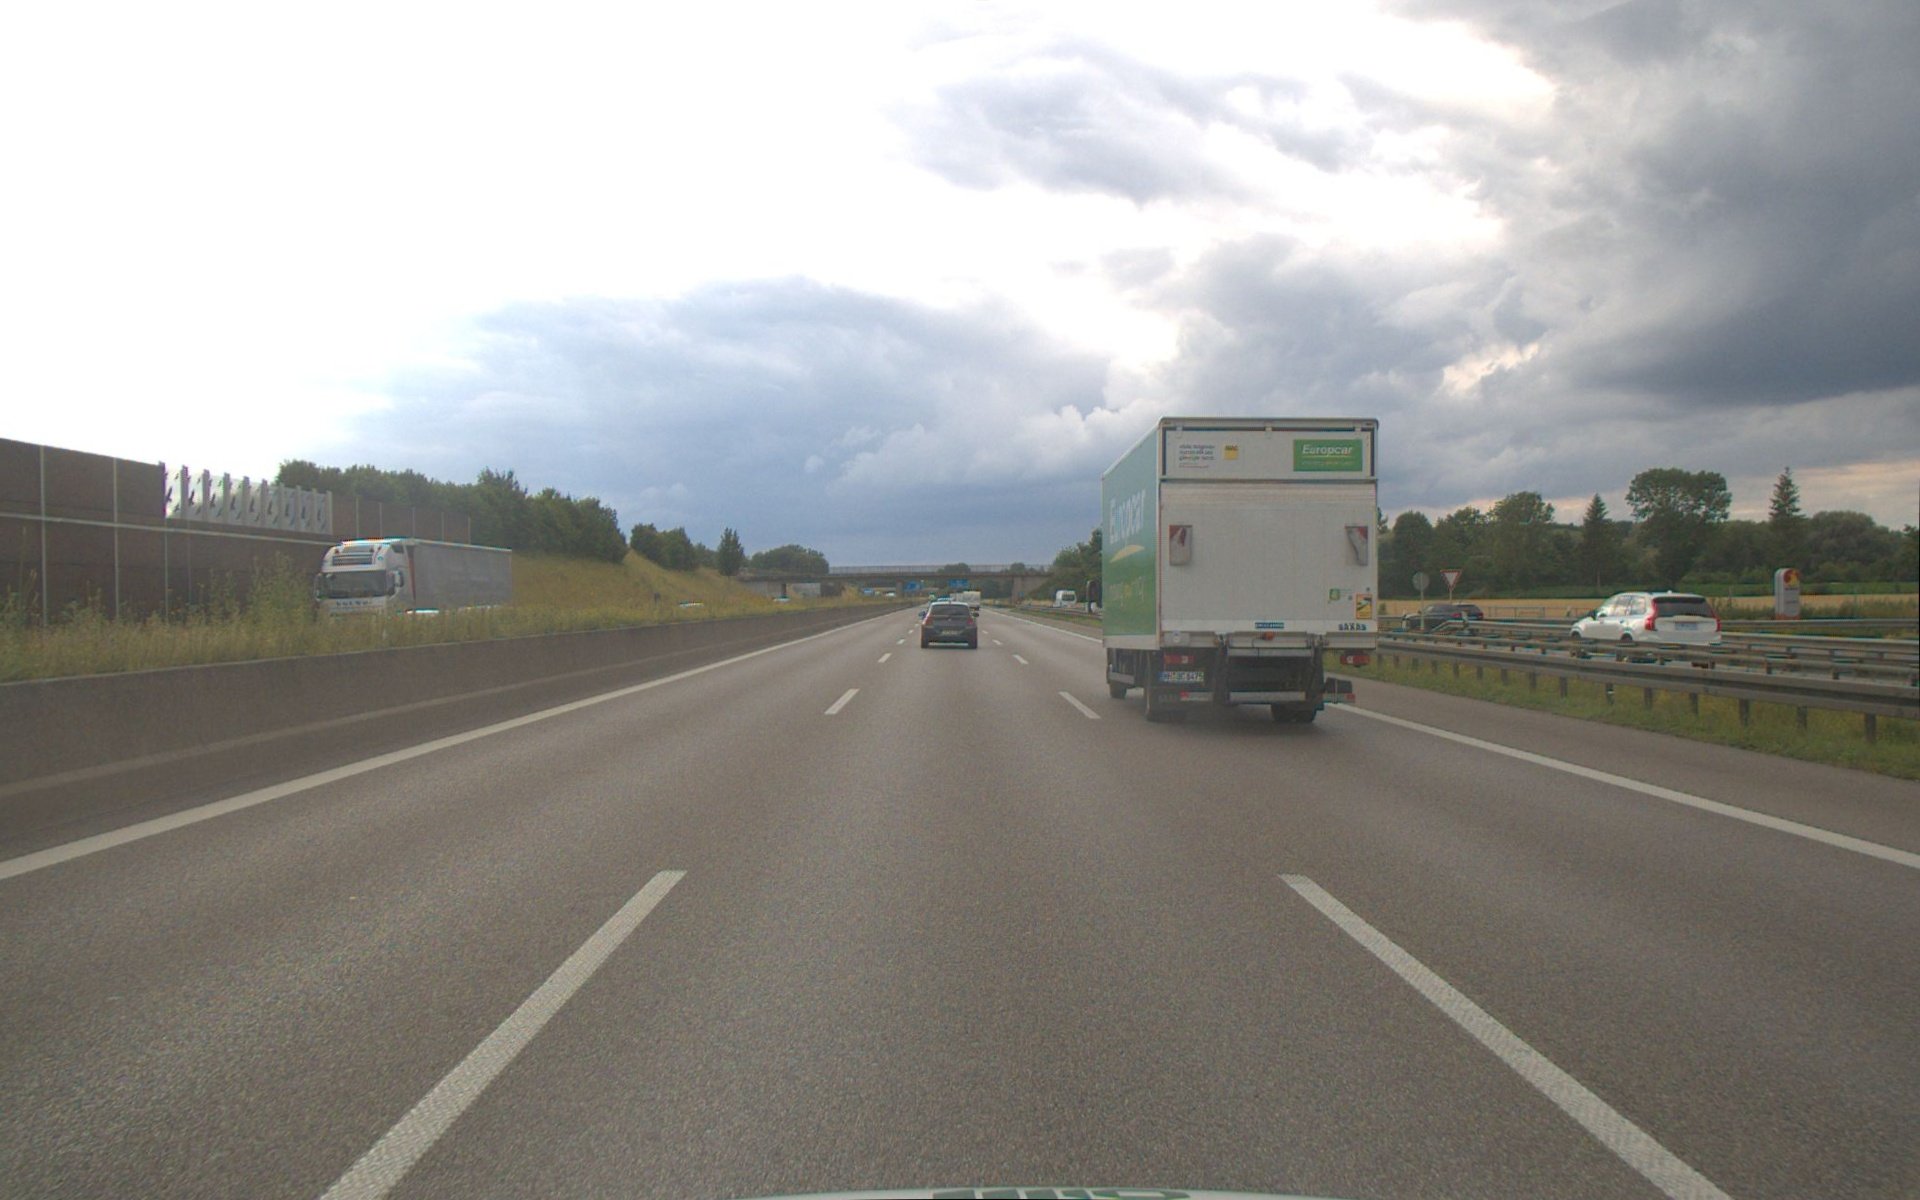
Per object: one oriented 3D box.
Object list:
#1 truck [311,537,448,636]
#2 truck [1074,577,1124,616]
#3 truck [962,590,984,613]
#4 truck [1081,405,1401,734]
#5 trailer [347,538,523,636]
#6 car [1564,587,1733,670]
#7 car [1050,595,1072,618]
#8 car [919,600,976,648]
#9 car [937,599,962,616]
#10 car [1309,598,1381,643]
[{"bbox_3d":[-20.271,-0.444,58.140,2.767,3.283,5.979,0,0,-1],"label":"truck"},{"bbox_3d":[13.025,-0.306,155.693,3.044,3.531,8.879,1,0,-6],"label":"truck"},{"bbox_3d":[1.729,0.216,225.899,2.655,3.016,12.444,1,0,-1],"label":"truck"},{"bbox_3d":[3.409,-0.332,22.651,2.714,3.566,9.060,1,0,-1],"label":"truck"},{"bbox_3d":[-20.345,-0.445,65.233,2.762,3.436,13.507,0,0,-1],"label":"trailer"},{"bbox_3d":[16.005,0.628,38.764,1.791,1.787,5.064,-1,0,-1],"label":"car"},{"bbox_3d":[12.167,0.777,198.804,2.176,2.613,6.255,0,0,-1],"label":"car"},{"bbox_3d":[-0.404,0.725,51.761,1.708,1.413,3.999,1,0,-1],"label":"car"},{"bbox_3d":[-0.887,0.598,133.287,1.953,1.321,3.999,-1,0,-1],"label":"car"},{"bbox_3d":[16.228,0.834,69.965,1.791,1.787,5.064,-1,0,-1],"label":"car"}]
